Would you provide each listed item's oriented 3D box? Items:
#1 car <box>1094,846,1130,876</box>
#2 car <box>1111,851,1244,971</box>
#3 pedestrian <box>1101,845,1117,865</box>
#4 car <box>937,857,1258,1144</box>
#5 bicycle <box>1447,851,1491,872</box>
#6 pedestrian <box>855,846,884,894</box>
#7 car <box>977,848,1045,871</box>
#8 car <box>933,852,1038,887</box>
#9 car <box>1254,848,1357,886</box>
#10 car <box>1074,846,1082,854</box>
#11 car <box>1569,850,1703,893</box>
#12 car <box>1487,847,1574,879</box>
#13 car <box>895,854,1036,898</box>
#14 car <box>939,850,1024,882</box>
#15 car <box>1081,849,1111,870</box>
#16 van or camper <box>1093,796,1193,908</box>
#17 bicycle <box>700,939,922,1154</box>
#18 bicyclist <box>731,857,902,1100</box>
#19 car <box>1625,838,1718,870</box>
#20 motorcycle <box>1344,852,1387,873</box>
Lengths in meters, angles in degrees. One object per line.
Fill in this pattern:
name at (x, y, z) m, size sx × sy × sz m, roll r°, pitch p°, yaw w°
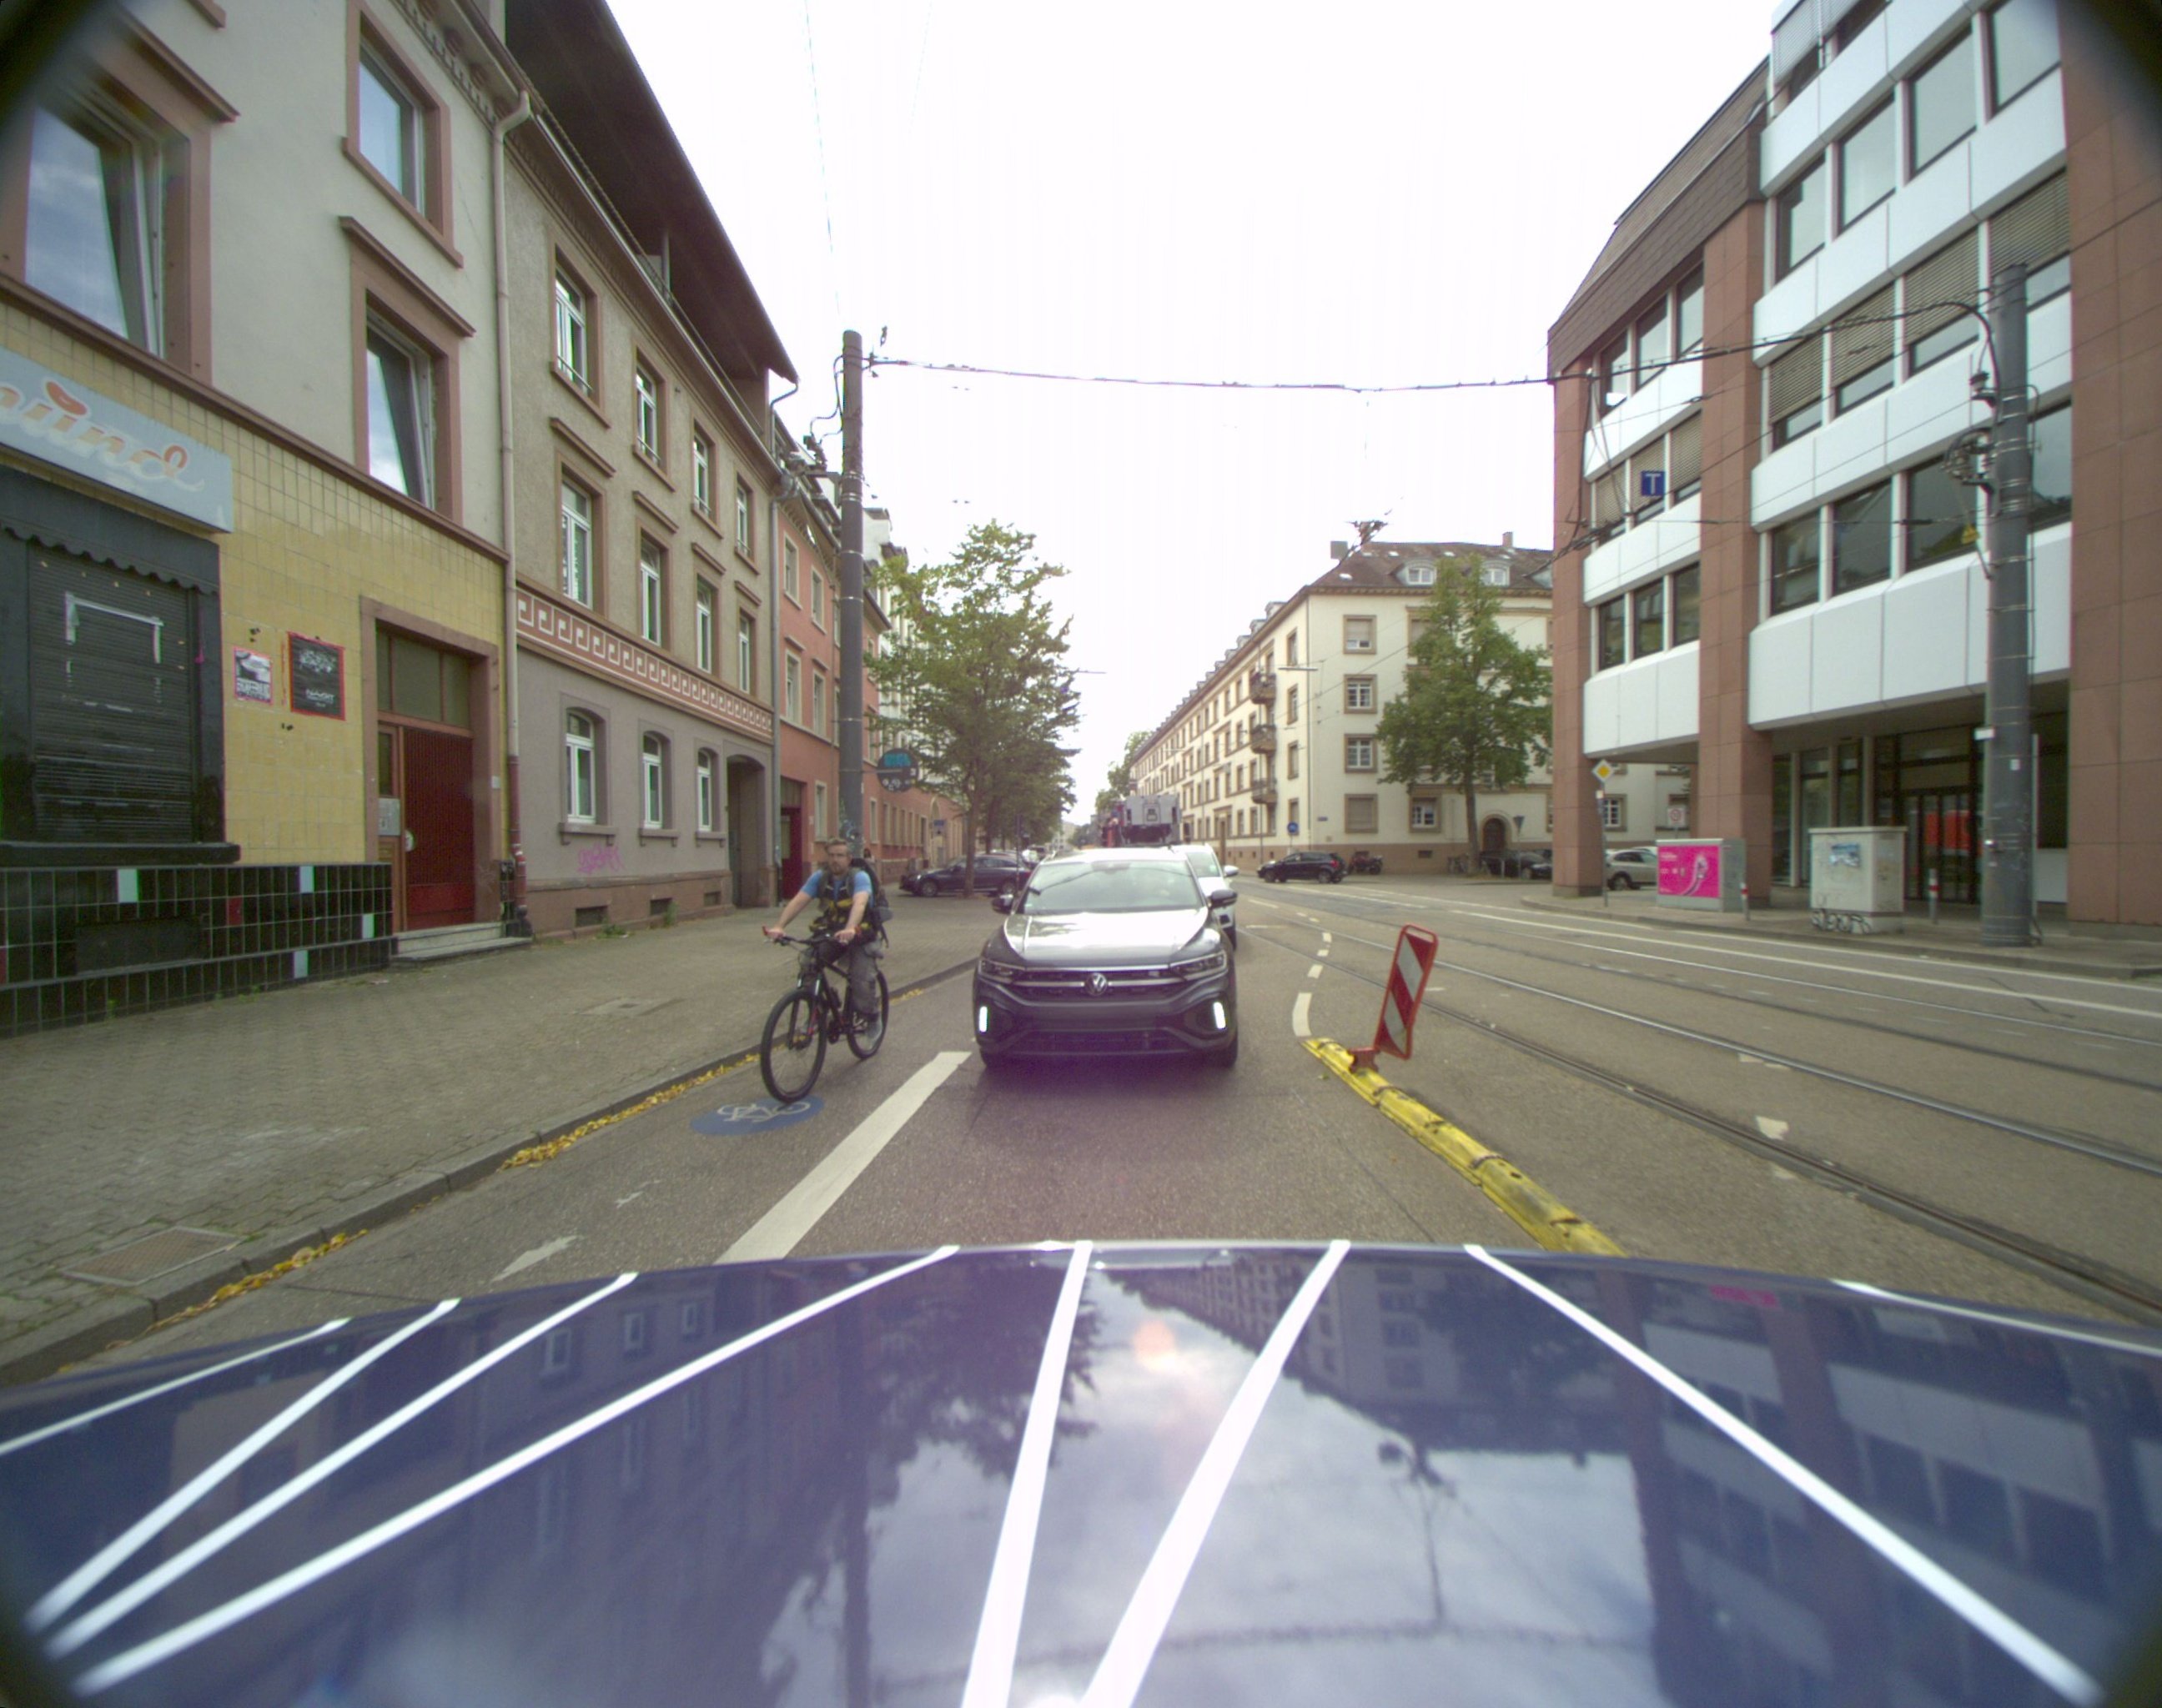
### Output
car at (1.812, 0.394, 45.830) m, size 1.998 × 1.698 × 4.052 m, roll -1°, pitch 1°, yaw 0°
car at (1.508, 0.796, 12.668) m, size 1.773 × 1.582 × 4.283 m, roll -2°, pitch 1°, yaw 5°
pedestrian at (2.543, 0.089, 69.379) m, size 1.016 × 1.831 × 1.003 m, roll 0°, pitch 1°, yaw 39°
car at (0.193, 0.851, 6.466) m, size 1.773 × 1.538 × 4.282 m, roll -2°, pitch 1°, yaw 3°
bicycle at (20.397, 0.370, 39.979) m, size 1.924 × 1.080 × 0.793 m, roll -1°, pitch 1°, yaw -1°
pedestrian at (-7.659, 0.557, 27.511) m, size 0.732 × 1.678 × 0.926 m, roll 3°, pitch 1°, yaw -2°
car at (-5.210, 0.406, 56.674) m, size 4.635 × 1.688 × 1.913 m, roll 1°, pitch 0°, yaw -25°
car at (-4.268, 0.683, 34.002) m, size 4.351 × 1.471 × 1.786 m, roll 1°, pitch 0°, yaw -25°
car at (9.983, 0.591, 33.886) m, size 4.038 × 1.528 × 1.778 m, roll -2°, pitch 1°, yaw 33°
car at (-0.661, -0.827, 166.142) m, size 1.899 × 1.806 × 3.999 m, roll -1°, pitch 1°, yaw 0°
car at (18.908, 0.560, 25.934) m, size 3.650 × 1.380 × 1.610 m, roll -1°, pitch 1°, yaw -10°
car at (20.782, 0.379, 35.328) m, size 1.611 × 1.388 × 3.873 m, roll -1°, pitch 1°, yaw -3°
car at (-4.077, 0.761, 26.931) m, size 4.635 × 1.464 × 1.786 m, roll 1°, pitch 0°, yaw -25°
car at (-5.391, 0.638, 41.125) m, size 4.245 × 1.688 × 1.736 m, roll 1°, pitch 0°, yaw -25°
car at (1.067, 0.364, 55.433) m, size 1.911 × 1.478 × 3.999 m, roll -1°, pitch 1°, yaw -2°
van or camper at (1.980, -0.107, 28.134) m, size 2.608 × 3.401 × 9.649 m, roll -1°, pitch 1°, yaw -2°
bicycle at (-1.747, 1.212, 5.271) m, size 0.714 × 1.012 × 1.801 m, roll -2°, pitch 1°, yaw 5°
bicyclist at (-1.769, 0.789, 5.226) m, size 0.715 × 1.498 × 0.919 m, roll -3°, pitch 1°, yaw 6°
car at (28.099, -0.003, 36.314) m, size 1.592 × 1.454 × 3.523 m, roll -1°, pitch 1°, yaw -3°
motorcycle at (14.868, 0.432, 39.702) m, size 1.924 × 1.080 × 0.793 m, roll -1°, pitch 1°, yaw -1°
